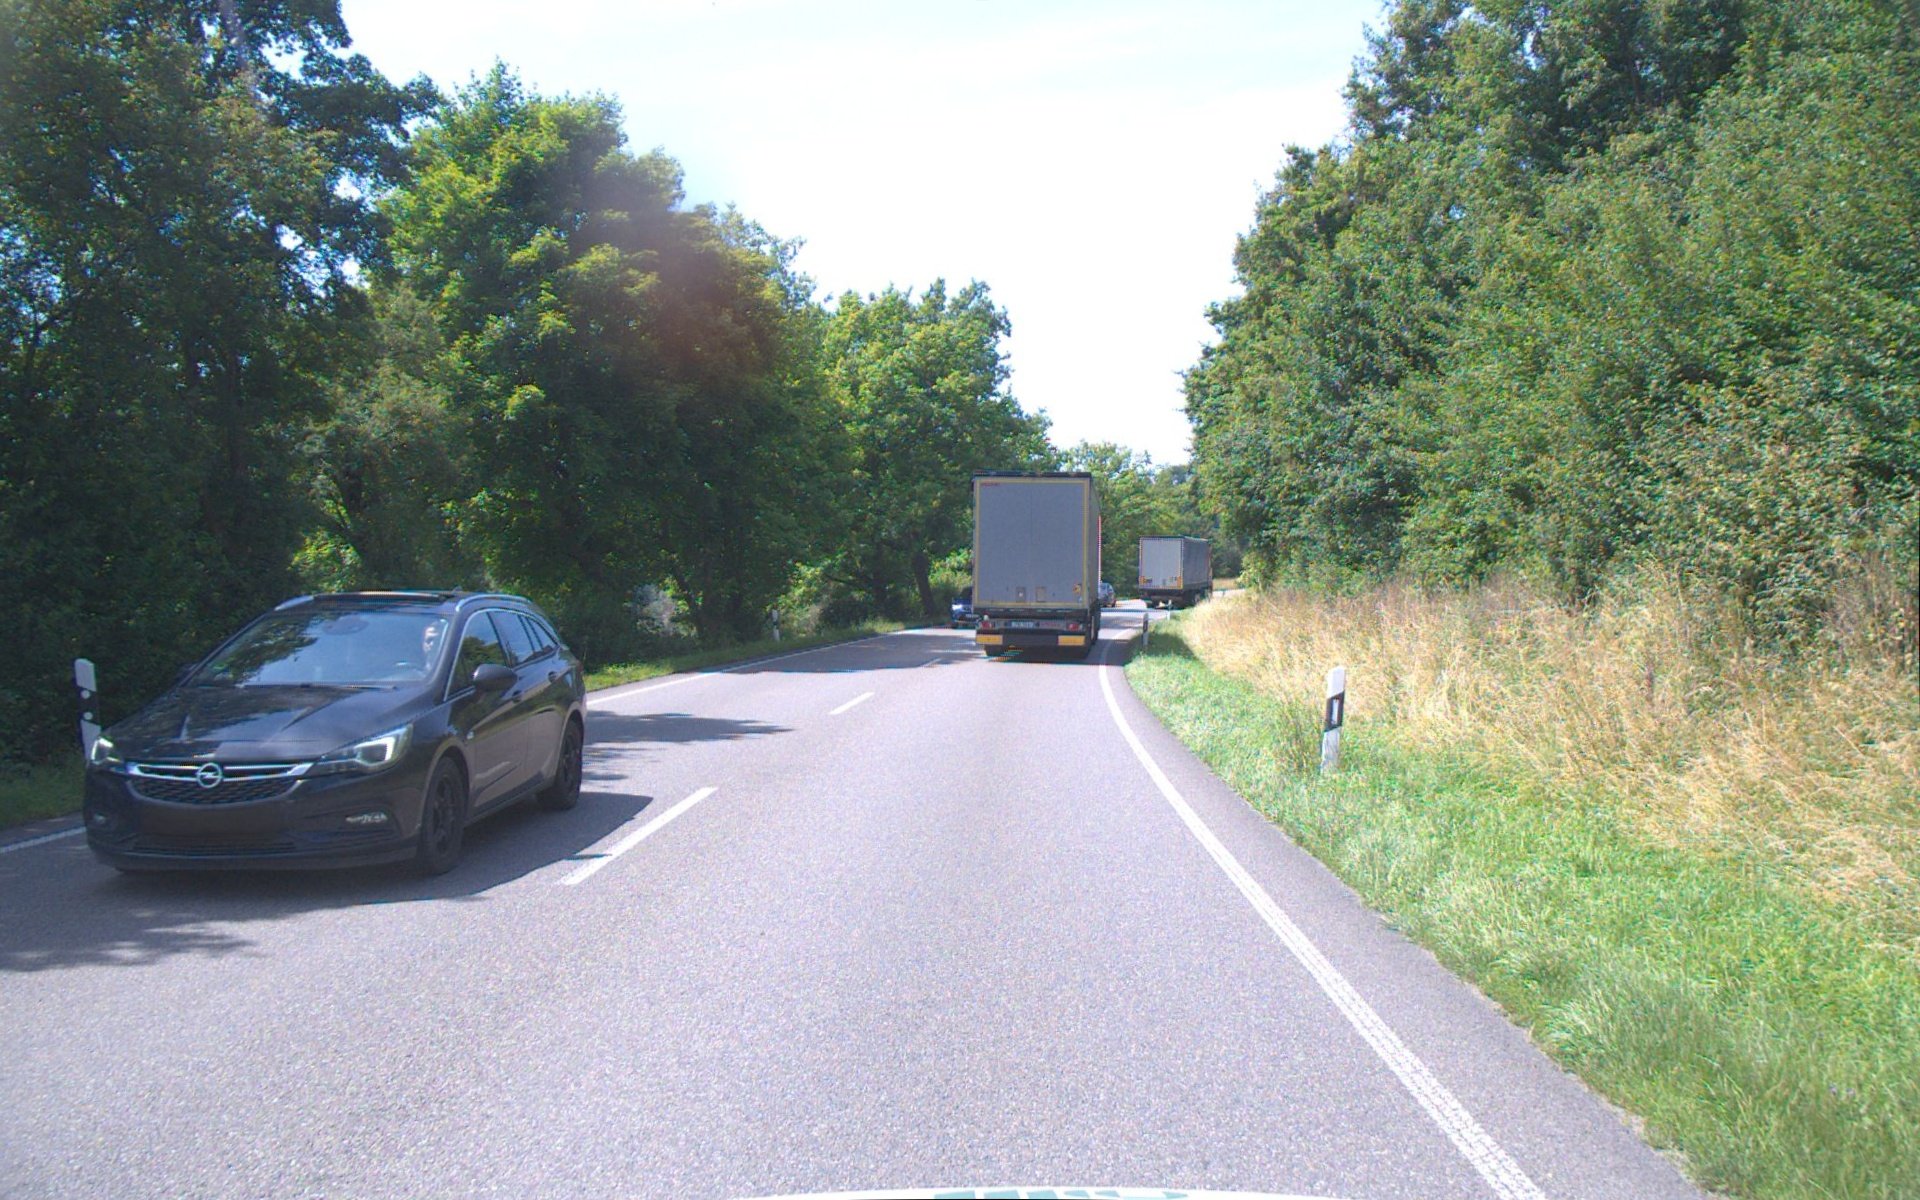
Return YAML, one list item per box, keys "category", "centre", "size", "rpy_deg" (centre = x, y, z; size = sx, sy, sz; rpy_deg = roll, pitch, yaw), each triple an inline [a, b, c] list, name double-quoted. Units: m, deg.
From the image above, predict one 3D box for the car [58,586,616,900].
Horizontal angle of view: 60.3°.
- category: "car"
  centre: [-3.427, 0.677, 10.075]
  size: [1.674, 1.496, 4.376]
  rpy_deg: [0, 0, 1]

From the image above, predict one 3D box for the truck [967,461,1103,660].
- category: "truck"
  centre: [2.232, -1.015, 42.587]
  size: [2.742, 4.139, 15.337]
  rpy_deg: [1, 1, 5]

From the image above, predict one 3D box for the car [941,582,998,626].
- category: "car"
  centre: [0.371, 0.128, 60.281]
  size: [1.634, 1.558, 3.961]
  rpy_deg: [-1, 0, 7]

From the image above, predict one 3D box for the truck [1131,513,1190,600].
- category: "truck"
  centre: [12.273, -2.595, 100.089]
  size: [3.038, 4.787, 16.605]
  rpy_deg: [-1, 1, 8]

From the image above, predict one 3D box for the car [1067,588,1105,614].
- category: "car"
  centre: [7.464, 0.055, 97.831]
  size: [1.721, 1.457, 4.273]
  rpy_deg: [0, 1, 11]
